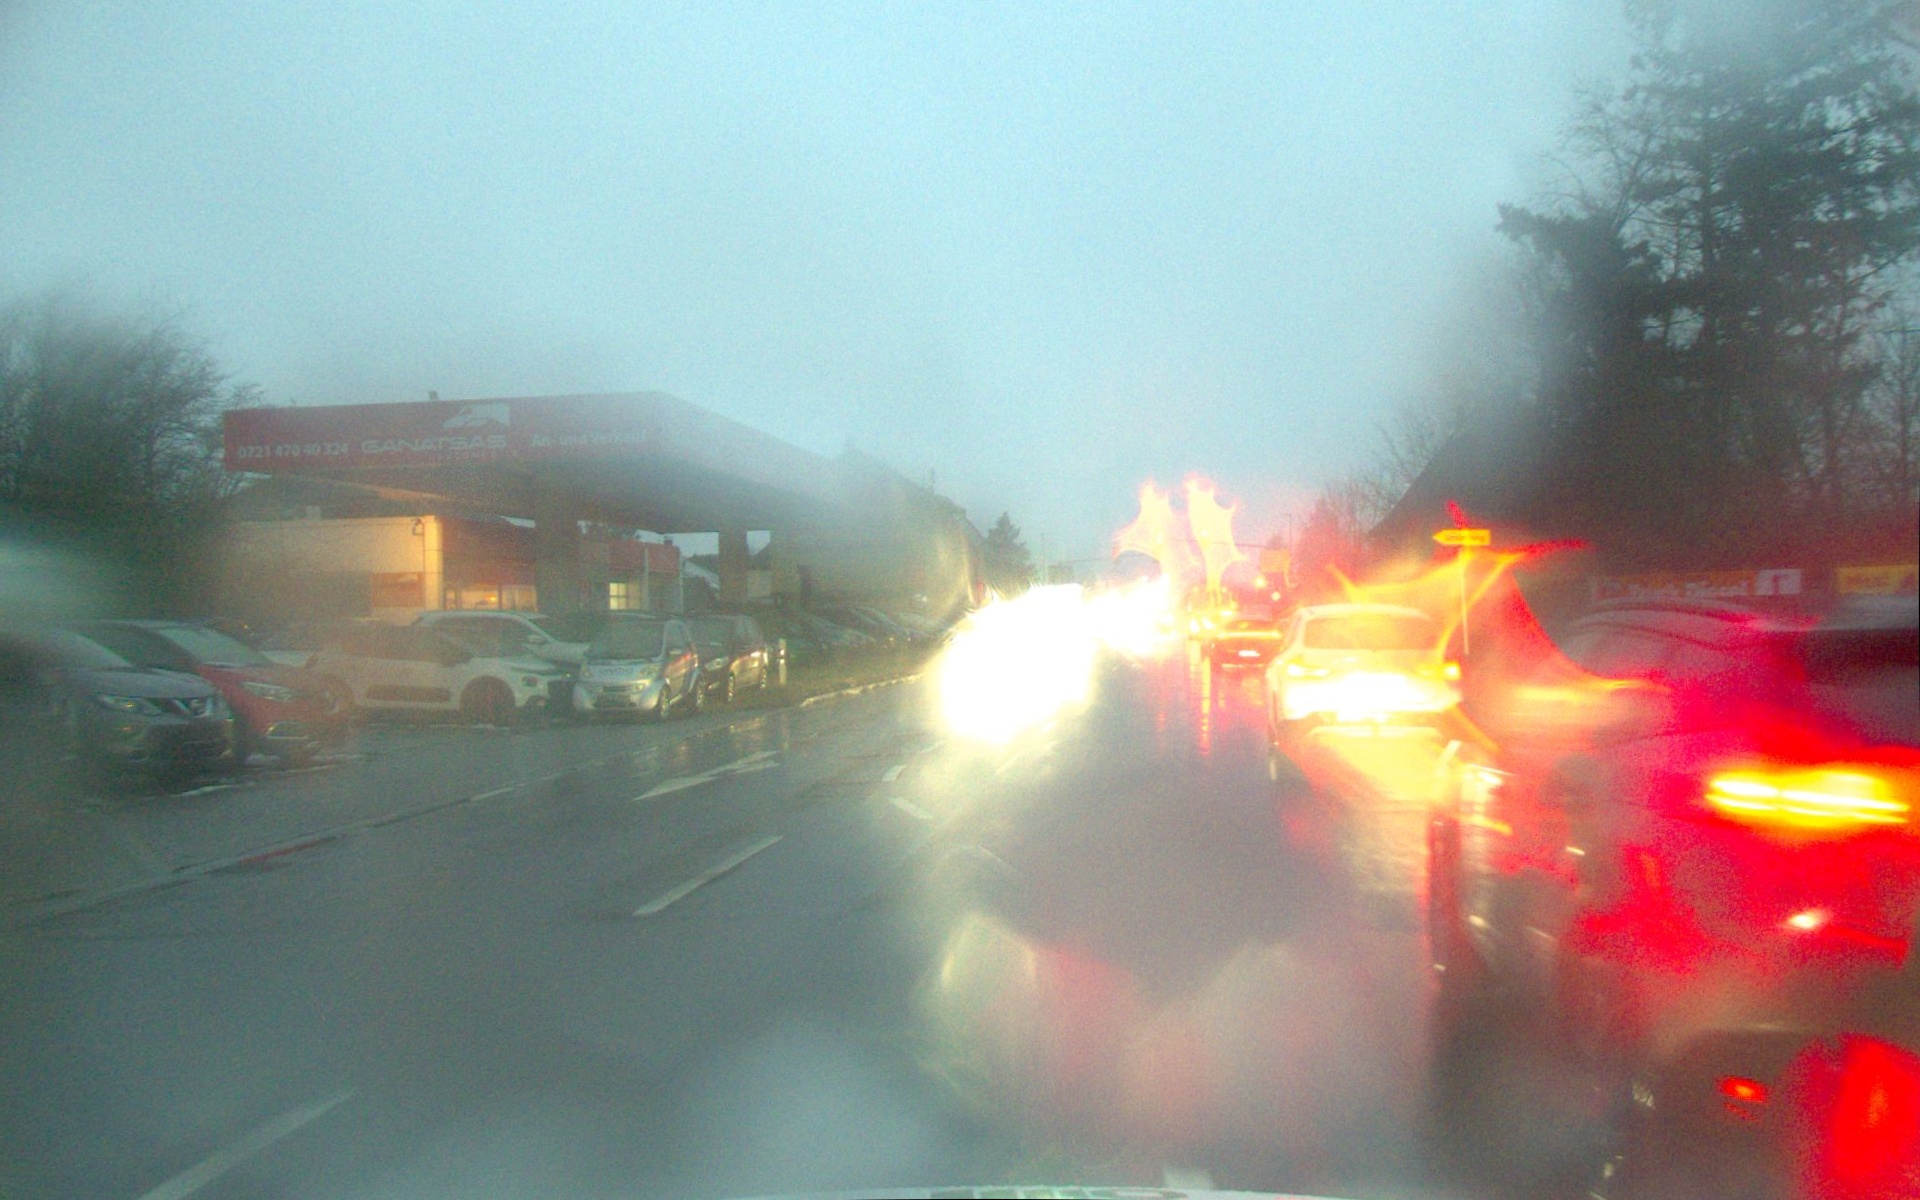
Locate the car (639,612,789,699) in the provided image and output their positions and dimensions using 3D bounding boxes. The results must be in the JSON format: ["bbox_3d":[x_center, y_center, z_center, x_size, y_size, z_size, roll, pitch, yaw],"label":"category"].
[{"bbox_3d":[-4.409,0.966,30.181,1.646,1.445,3.743,-1,-1,9],"label":"car"}]

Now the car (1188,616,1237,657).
[{"bbox_3d":[8.927,1.273,58.752,1.618,1.359,4.275,-1,-1,8],"label":"car"}]

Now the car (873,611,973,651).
[{"bbox_3d":[-1.642,1.363,73.969,4.186,1.656,2.001,2,0,8],"label":"car"}]

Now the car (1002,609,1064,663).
[{"bbox_3d":[2.299,1.090,51.580,1.569,1.561,4.003,-3,-1,7],"label":"car"}]

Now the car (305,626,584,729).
[{"bbox_3d":[-7.874,1.164,25.477,3.692,1.485,1.777,0,0,5],"label":"car"}]

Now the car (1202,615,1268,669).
[{"bbox_3d":[7.378,1.105,44.707,1.606,1.390,4.772,-1,-1,8],"label":"car"}]

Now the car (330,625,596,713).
[{"bbox_3d":[-8.184,1.114,27.416,3.776,1.369,1.841,0,0,7],"label":"car"}]

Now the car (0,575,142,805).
[{"bbox_3d":[-9.300,0.695,13.311,4.439,1.706,2.011,-1,0,3],"label":"car"}]

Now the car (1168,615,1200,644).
[{"bbox_3d":[11.969,1.567,88.417,1.627,1.464,4.384,0,-1,7],"label":"car"}]

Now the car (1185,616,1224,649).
[{"bbox_3d":[11.944,1.565,80.865,1.797,1.596,4.507,0,-1,7],"label":"car"}]

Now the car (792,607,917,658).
[{"bbox_3d":[-3.844,1.176,60.657,4.186,1.691,2.001,2,0,8],"label":"car"}]

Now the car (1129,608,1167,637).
[{"bbox_3d":[11.147,1.343,98.226,2.004,1.600,4.705,-2,-1,5],"label":"car"}]

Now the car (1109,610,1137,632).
[{"bbox_3d":[13.948,1.780,141.503,1.951,1.777,4.003,-3,-1,10],"label":"car"}]

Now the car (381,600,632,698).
[{"bbox_3d":[-8.262,0.878,30.294,3.960,1.679,1.943,-1,-1,9],"label":"car"}]

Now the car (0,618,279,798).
[{"bbox_3d":[-8.937,0.965,15.584,4.243,1.524,1.996,-1,0,10],"label":"car"}]

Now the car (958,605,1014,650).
[{"bbox_3d":[1.196,1.200,73.859,1.929,1.862,4.516,-2,-1,7],"label":"car"}]

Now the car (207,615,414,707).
[{"bbox_3d":[-11.692,1.048,30.041,1.794,1.516,3.874,0,0,8],"label":"car"}]

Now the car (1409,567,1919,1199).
[{"bbox_3d":[2.458,0.722,5.140,1.532,1.556,4.009,-1,0,8],"label":"car"}]

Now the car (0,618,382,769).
[{"bbox_3d":[-8.770,0.990,18.097,4.243,1.524,1.827,-1,0,8],"label":"car"}]

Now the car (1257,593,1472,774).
[{"bbox_3d":[4.024,0.760,17.072,1.671,1.603,4.467,-1,0,8],"label":"car"}]

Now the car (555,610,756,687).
[{"bbox_3d":[-6.621,1.039,36.184,3.945,1.581,1.825,0,0,7],"label":"car"}]

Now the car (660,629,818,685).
[{"bbox_3d":[-5.787,1.495,43.590,3.776,1.369,1.841,-1,-1,7],"label":"car"}]

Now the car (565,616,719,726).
[{"bbox_3d":[-4.975,1.072,26.200,1.485,1.570,3.017,-2,0,7],"label":"car"}]

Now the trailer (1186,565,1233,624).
[{"bbox_3d":[14.923,-0.241,99.332,2.435,3.297,10.876,0,-1,7],"label":"trailer"}]
